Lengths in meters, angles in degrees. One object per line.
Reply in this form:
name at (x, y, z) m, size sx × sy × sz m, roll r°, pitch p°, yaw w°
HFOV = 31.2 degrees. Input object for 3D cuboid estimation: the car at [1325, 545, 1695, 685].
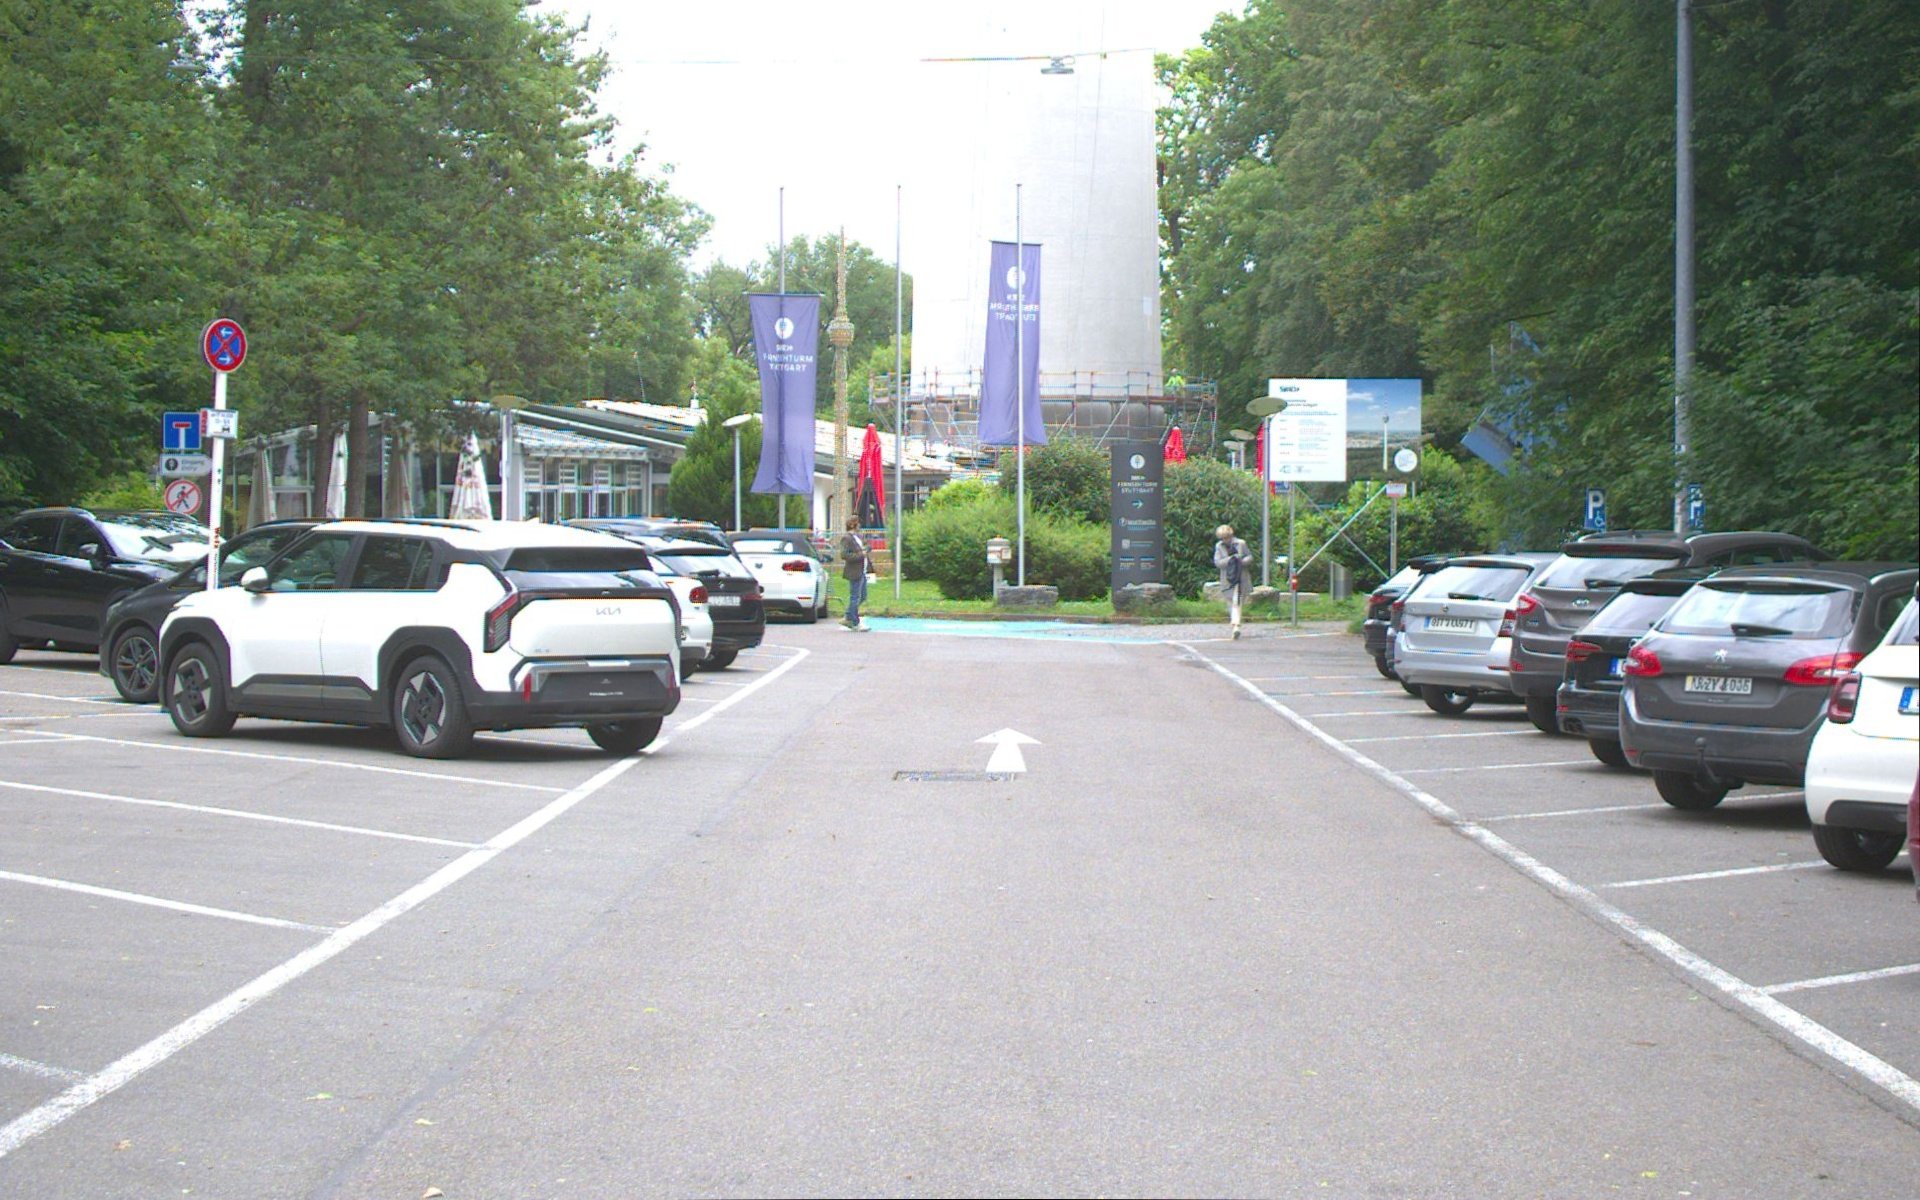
car at (6.206, 0.139, 38.547) m, size 4.193 × 1.457 × 1.898 m, roll 0°, pitch 2°, yaw -43°

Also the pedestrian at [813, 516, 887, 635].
pedestrian at (-1.625, -0.370, 50.858) m, size 0.895 × 1.719 × 0.764 m, roll 1°, pitch 1°, yaw 16°

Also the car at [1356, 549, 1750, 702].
car at (6.016, 0.219, 34.650) m, size 3.989 × 1.417 × 1.909 m, roll -1°, pitch 2°, yaw -44°

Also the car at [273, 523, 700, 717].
car at (-4.347, 0.125, 31.176) m, size 1.842 × 1.581 × 3.975 m, roll -1°, pitch 3°, yaw -44°

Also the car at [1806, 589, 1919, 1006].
car at (5.246, 0.688, 12.675) m, size 4.283 × 1.409 × 1.927 m, roll 0°, pitch 1°, yaw -39°

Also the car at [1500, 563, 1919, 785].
car at (5.863, 0.451, 24.176) m, size 1.964 × 1.373 × 4.252 m, roll 2°, pitch 2°, yaw 44°

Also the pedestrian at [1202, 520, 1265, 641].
pedestrian at (3.961, -0.288, 49.788) m, size 0.762 × 1.719 × 0.896 m, roll 1°, pitch 1°, yaw 13°

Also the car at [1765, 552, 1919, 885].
car at (5.718, 0.529, 16.753) m, size 3.572 × 1.499 × 1.734 m, roll -1°, pitch 2°, yaw -42°

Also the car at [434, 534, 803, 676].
car at (-3.855, 0.017, 38.318) m, size 4.276 × 1.438 × 1.755 m, roll 2°, pitch 2°, yaw 44°

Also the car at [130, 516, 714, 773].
car at (-3.803, 0.235, 23.872) m, size 4.187 × 1.591 × 1.842 m, roll 2°, pitch 2°, yaw 44°

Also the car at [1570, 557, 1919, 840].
car at (5.571, 0.491, 20.096) m, size 4.175 × 1.452 × 1.804 m, roll -1°, pitch 2°, yaw -43°

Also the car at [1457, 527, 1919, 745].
car at (6.201, 0.238, 28.248) m, size 4.251 × 1.631 × 1.964 m, roll -1°, pitch 2°, yaw -43°

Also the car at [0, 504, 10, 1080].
car at (-4.511, 0.494, 10.081) m, size 3.652 × 1.580 × 1.682 m, roll 2°, pitch 2°, yaw 43°

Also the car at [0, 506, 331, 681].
car at (-8.379, -0.110, 35.024) m, size 3.997 × 1.657 × 1.894 m, roll 2°, pitch 2°, yaw 44°

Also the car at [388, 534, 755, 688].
car at (-4.013, 0.076, 35.129) m, size 1.768 × 1.438 × 3.844 m, roll 0°, pitch 2°, yaw -43°

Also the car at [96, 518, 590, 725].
car at (-5.134, 0.120, 28.376) m, size 3.996 × 1.549 × 1.869 m, roll 2°, pitch 2°, yaw 40°

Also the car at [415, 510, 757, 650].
car at (-4.645, -0.278, 42.310) m, size 1.825 × 1.603 × 4.385 m, roll -1°, pitch 2°, yaw -45°

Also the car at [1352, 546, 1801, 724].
car at (5.623, 0.269, 31.171) m, size 3.988 × 1.462 × 1.835 m, roll -1°, pitch 2°, yaw -39°

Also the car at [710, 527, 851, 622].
car at (-2.847, -0.431, 55.248) m, size 1.893 × 1.423 × 4.000 m, roll 1°, pitch 2°, yaw 2°
